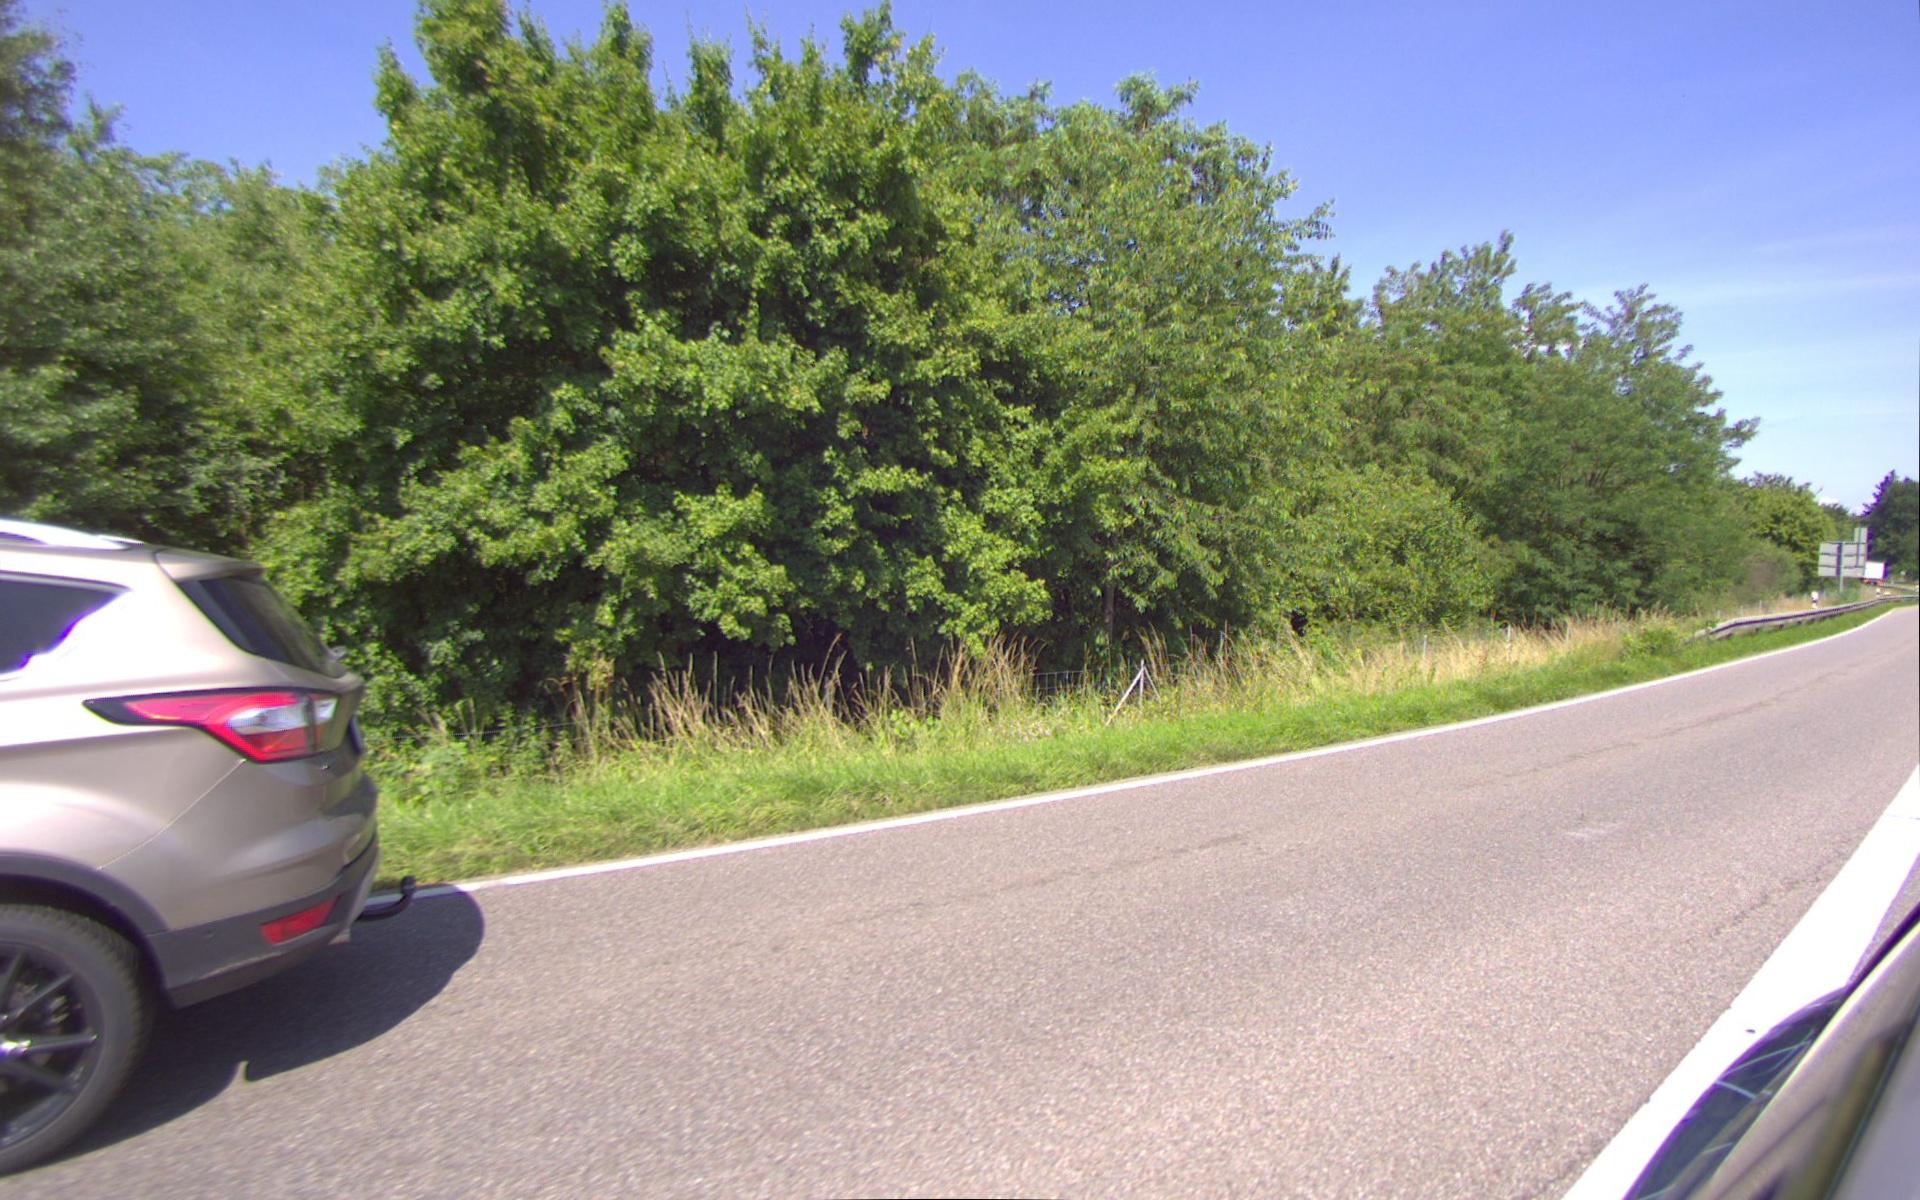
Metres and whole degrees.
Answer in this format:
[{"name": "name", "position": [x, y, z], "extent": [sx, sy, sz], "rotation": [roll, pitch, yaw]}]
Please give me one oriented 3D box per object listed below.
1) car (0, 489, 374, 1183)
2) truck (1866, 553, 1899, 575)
[{"name": "car", "position": [-4.103, 0.580, 2.493], "extent": [4.573, 1.687, 1.901], "rotation": [0, 0, -31]}, {"name": "truck", "position": [171.025, -6.592, 187.746], "extent": [2.775, 3.924, 13.968], "rotation": [1, 1, 35]}]
